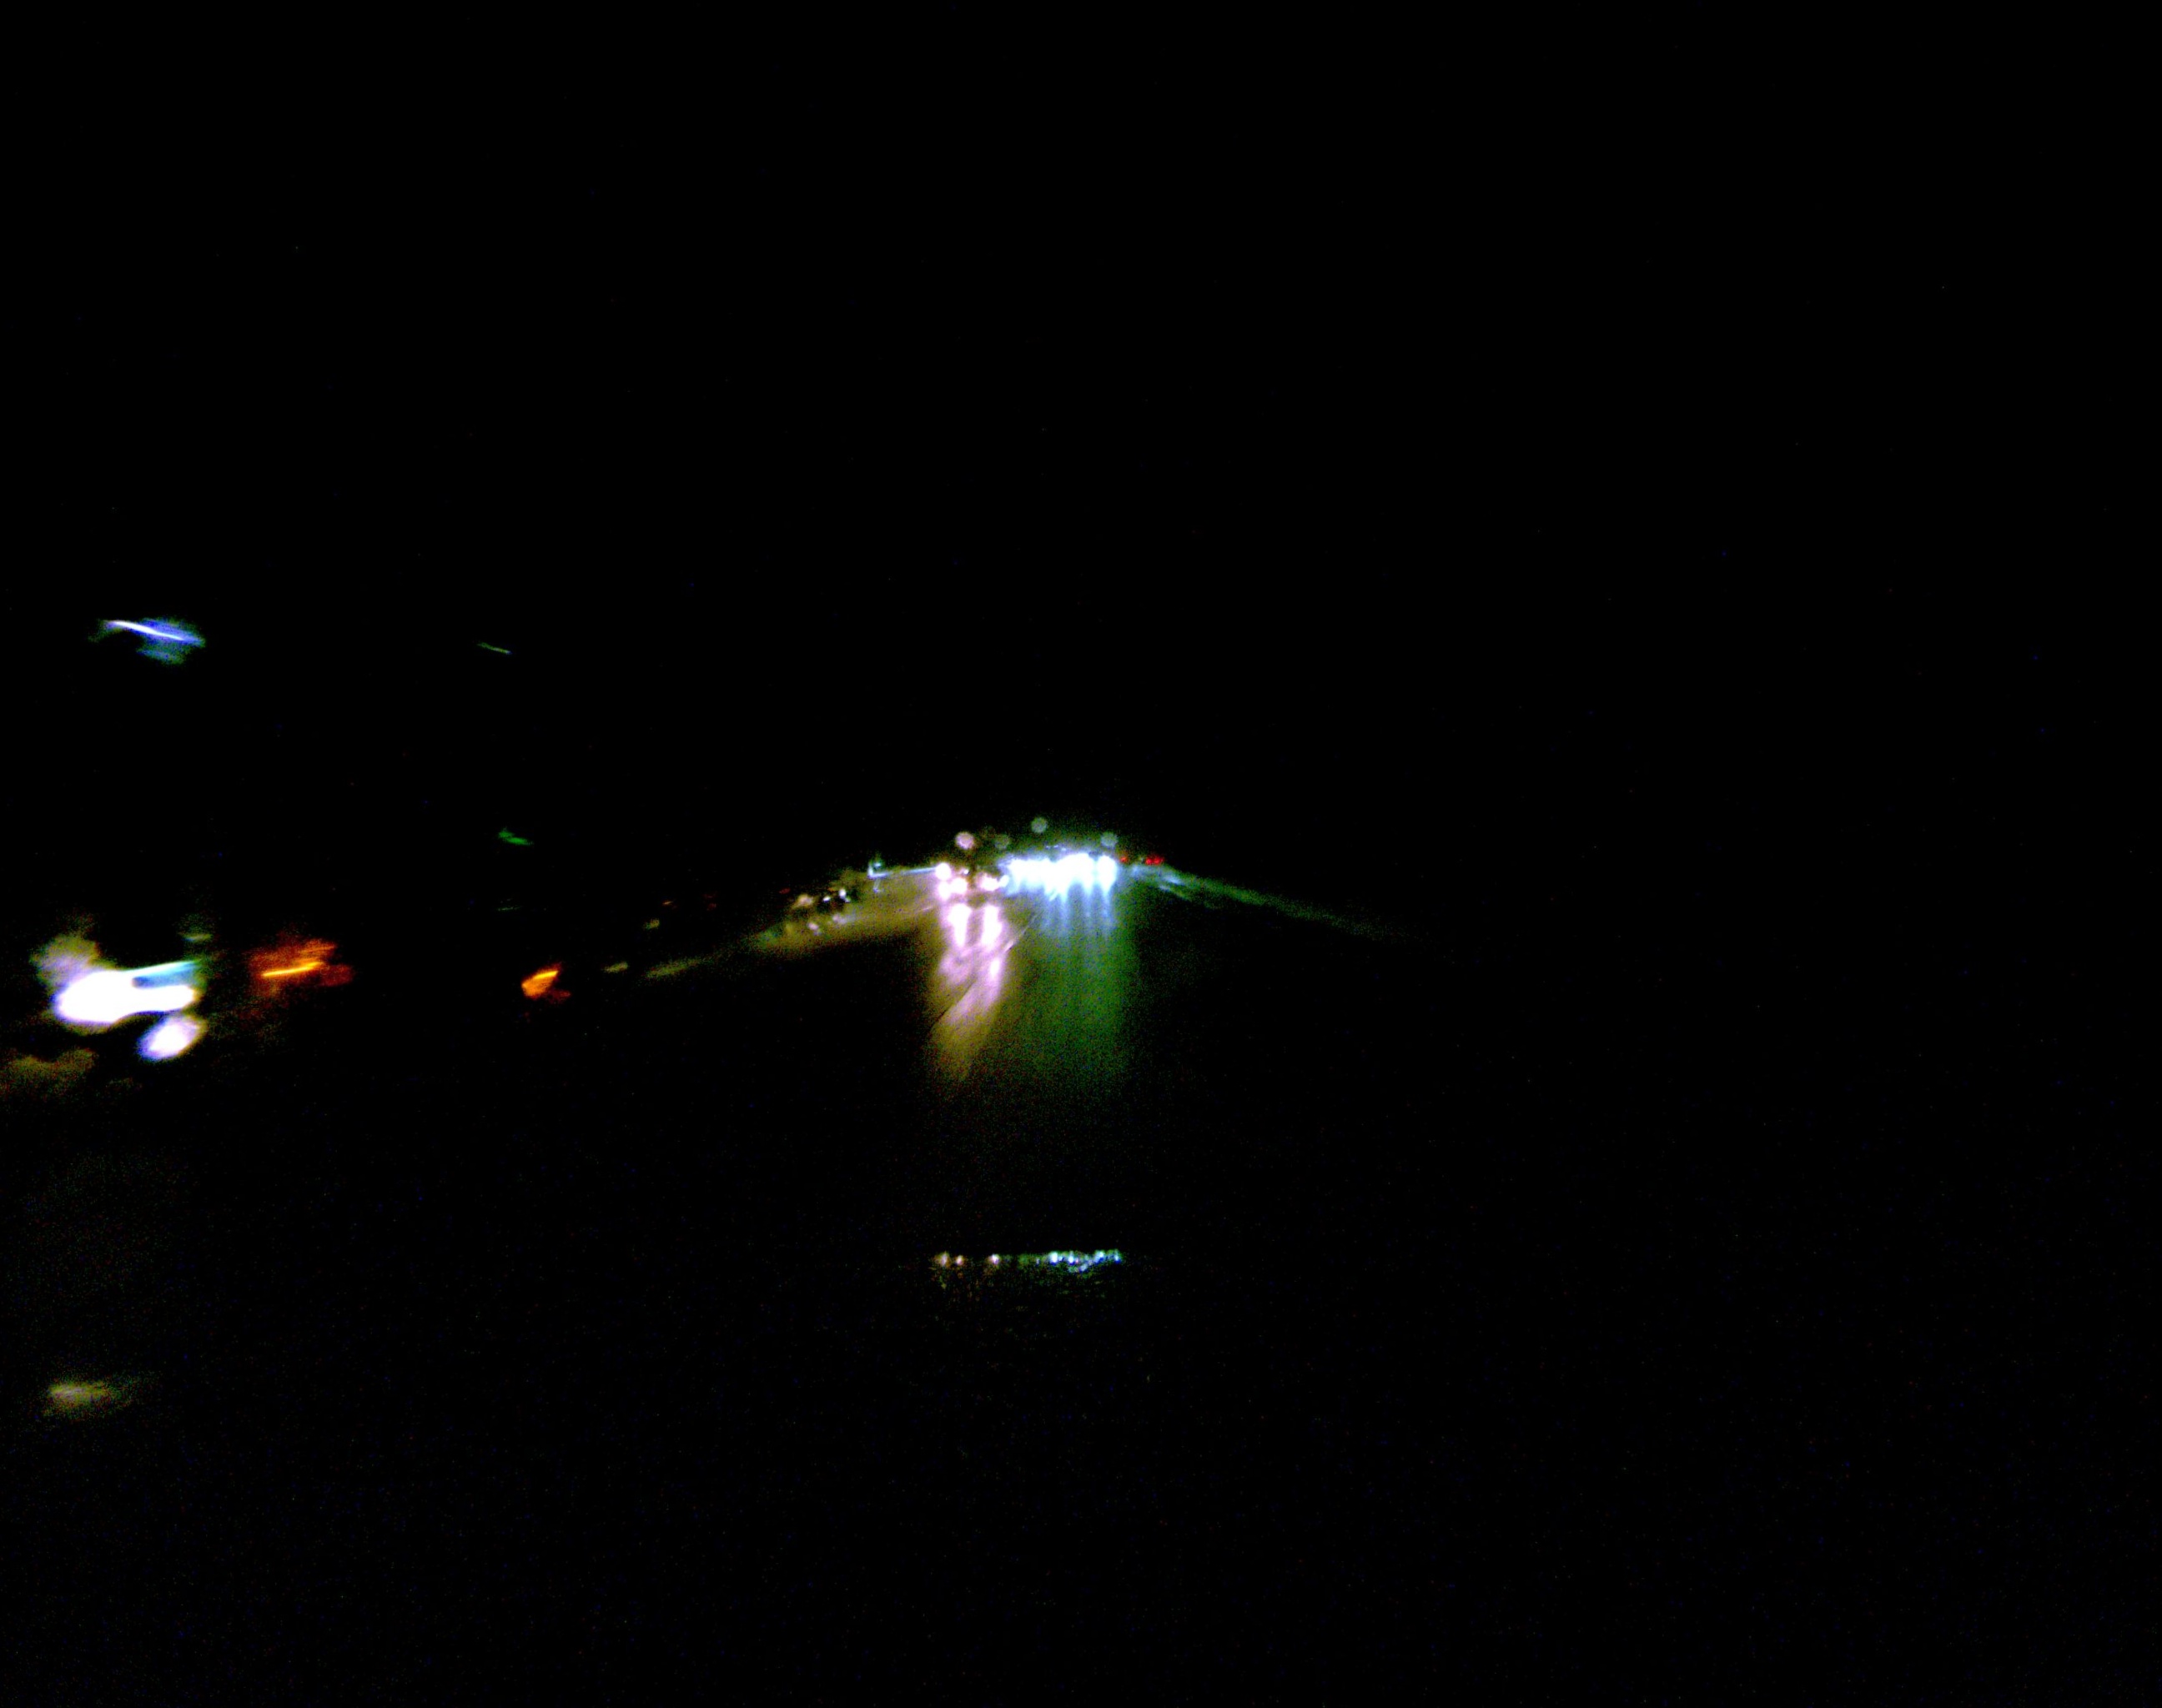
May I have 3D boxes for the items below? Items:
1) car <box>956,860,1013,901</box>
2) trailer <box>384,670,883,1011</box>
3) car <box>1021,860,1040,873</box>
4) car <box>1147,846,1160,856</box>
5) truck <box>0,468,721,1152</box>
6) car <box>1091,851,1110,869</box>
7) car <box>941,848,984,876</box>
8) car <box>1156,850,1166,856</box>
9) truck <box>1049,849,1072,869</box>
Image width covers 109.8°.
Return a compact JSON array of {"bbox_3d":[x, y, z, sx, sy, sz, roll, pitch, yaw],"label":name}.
[{"bbox_3d":[-3.766,1.003,30.232,1.616,1.404,3.792,-2,0,2],"label":"car"},{"bbox_3d":[-7.207,-0.186,15.627,2.810,4.187,12.096,-2,0,1],"label":"trailer"},{"bbox_3d":[-6.027,1.453,90.858,1.747,1.470,5.366,-3,0,1],"label":"car"},{"bbox_3d":[11.547,-0.500,120.750,1.714,1.554,4.295,-1,1,1],"label":"car"},{"bbox_3d":[-7.330,-0.241,8.479,2.810,4.242,7.447,-2,0,1],"label":"truck"},{"bbox_3d":[1.802,0.540,68.664,1.619,1.452,3.768,-3,1,2],"label":"car"},{"bbox_3d":[-8.802,0.559,56.916,2.051,1.962,5.407,-2,0,3],"label":"car"},{"bbox_3d":[19.792,-0.309,188.047,1.998,1.492,4.965,-3,1,1],"label":"car"},{"bbox_3d":[-1.839,0.455,69.270,1.848,1.686,4.854,-3,1,1],"label":"truck"}]
